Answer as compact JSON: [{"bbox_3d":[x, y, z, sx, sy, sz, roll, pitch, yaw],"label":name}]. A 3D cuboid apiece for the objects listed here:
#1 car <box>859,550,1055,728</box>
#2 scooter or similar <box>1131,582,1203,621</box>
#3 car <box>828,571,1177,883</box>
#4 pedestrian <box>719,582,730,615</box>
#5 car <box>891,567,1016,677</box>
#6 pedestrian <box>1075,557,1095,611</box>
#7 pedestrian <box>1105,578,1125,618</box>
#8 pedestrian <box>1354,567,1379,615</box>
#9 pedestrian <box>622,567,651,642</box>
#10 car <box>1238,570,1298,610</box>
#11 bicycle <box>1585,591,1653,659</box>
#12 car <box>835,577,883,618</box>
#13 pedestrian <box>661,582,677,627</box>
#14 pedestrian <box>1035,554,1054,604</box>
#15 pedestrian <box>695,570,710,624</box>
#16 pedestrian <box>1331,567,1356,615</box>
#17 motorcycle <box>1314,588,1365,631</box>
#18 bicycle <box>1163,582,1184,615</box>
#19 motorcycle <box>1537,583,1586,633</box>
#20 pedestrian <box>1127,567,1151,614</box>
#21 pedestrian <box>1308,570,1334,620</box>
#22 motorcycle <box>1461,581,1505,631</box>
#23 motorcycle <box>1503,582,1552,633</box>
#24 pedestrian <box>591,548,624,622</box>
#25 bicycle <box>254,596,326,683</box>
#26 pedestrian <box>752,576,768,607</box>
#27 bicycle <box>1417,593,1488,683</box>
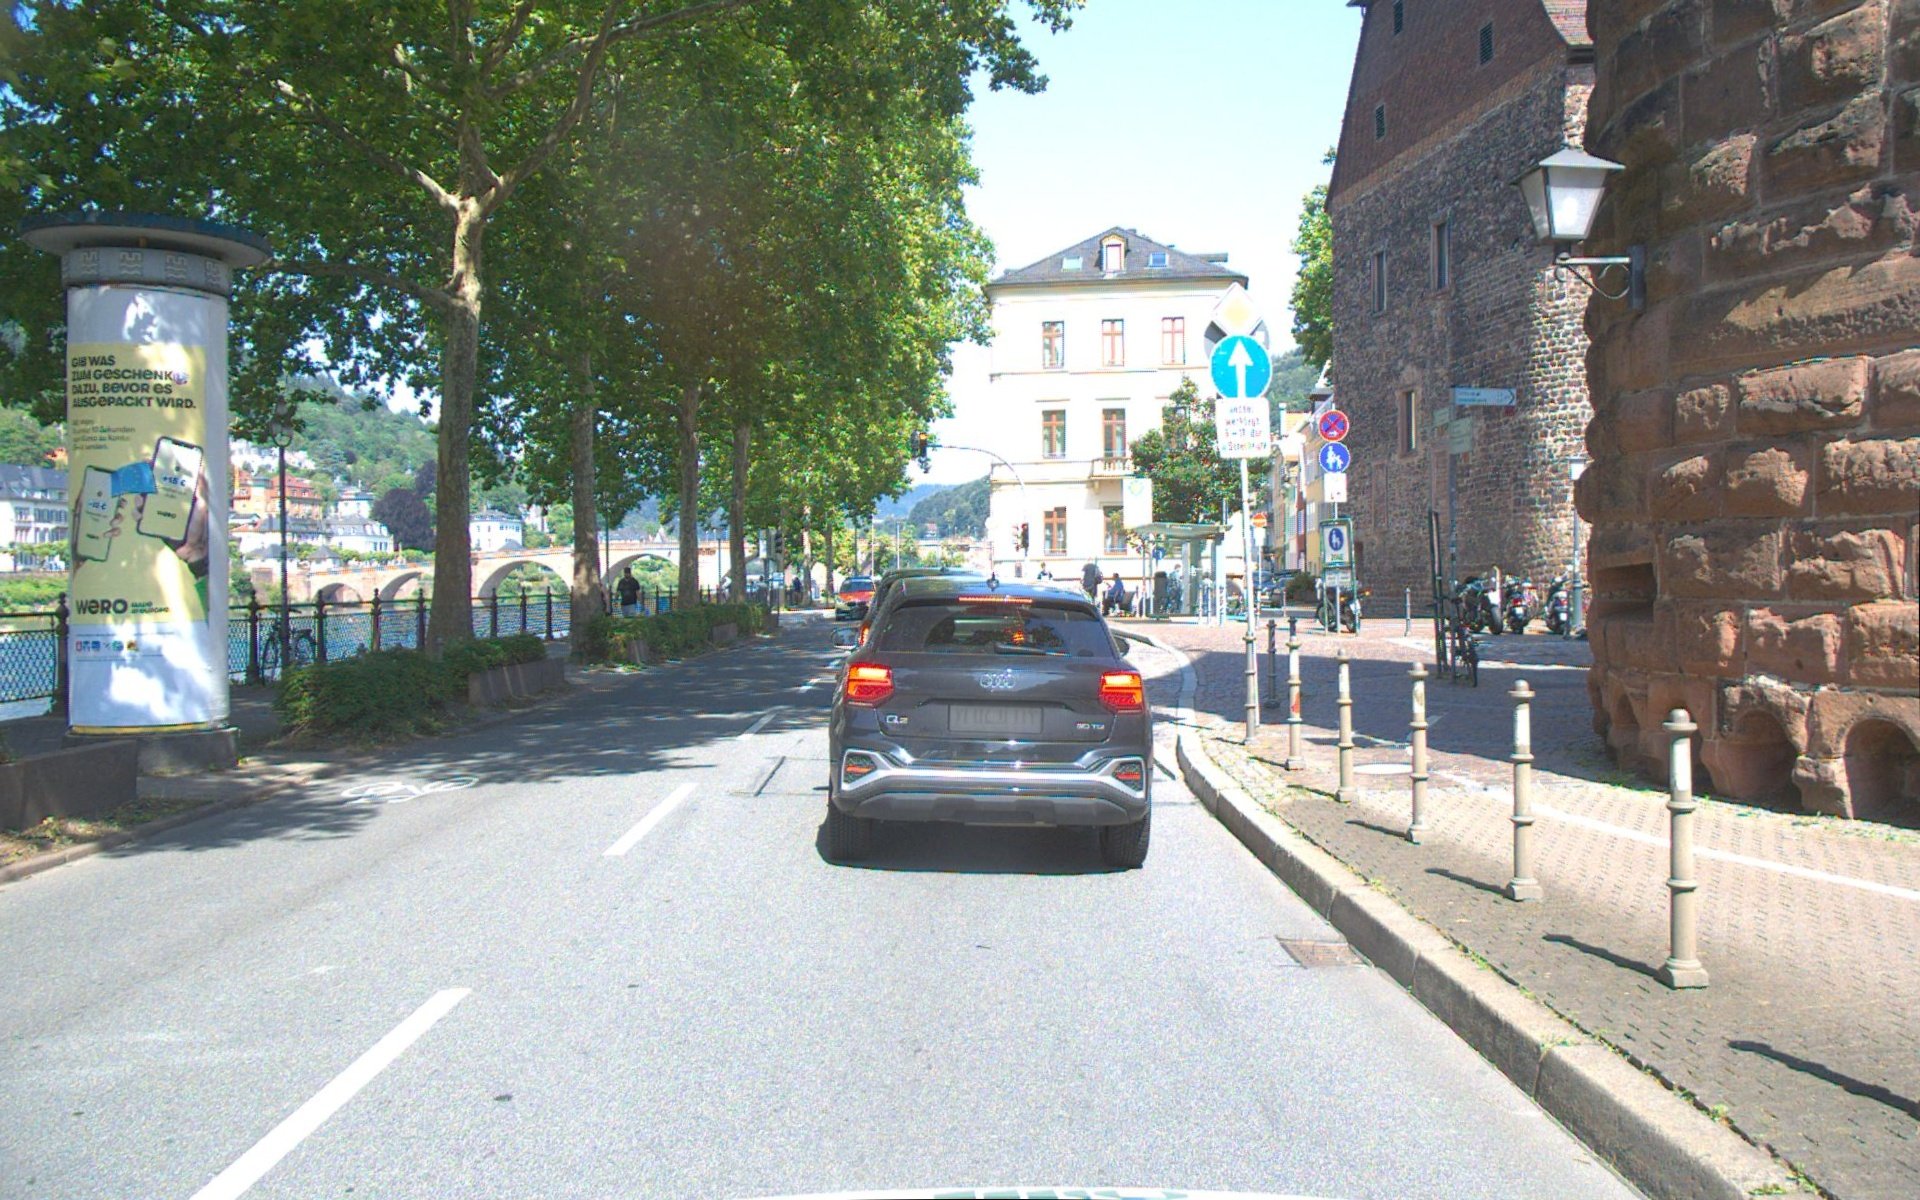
[{"bbox_3d":[-0.036,0.338,17.094,1.764,1.589,3.715,-2,1,0],"label":"car"},{"bbox_3d":[5.405,0.042,43.207,1.808,0.980,0.429,1,0,-2],"label":"scooter or similar"},{"bbox_3d":[0.158,0.611,10.024,1.713,1.520,3.628,1,1,-2],"label":"car"},{"bbox_3d":[-10.413,-0.070,73.111,0.401,1.450,0.457,1,0,-2],"label":"pedestrian"},{"bbox_3d":[-0.103,0.293,25.875,1.764,1.549,3.715,-2,1,0],"label":"car"},{"bbox_3d":[3.884,-0.488,51.334,0.545,1.661,0.660,1,0,0],"label":"pedestrian"},{"bbox_3d":[4.833,-0.060,51.589,0.535,1.222,0.522,1,0,0],"label":"pedestrian"},{"bbox_3d":[13.226,-0.280,53.867,0.644,1.544,0.627,1,0,1],"label":"pedestrian"},{"bbox_3d":[-7.817,0.111,39.973,0.552,1.772,0.665,-2,0,-4],"label":"pedestrian"},{"bbox_3d":[14.130,-0.443,76.096,1.953,1.746,4.000,1,0,0],"label":"car"},{"bbox_3d":[10.602,0.383,26.672,0.485,1.048,2.052,1,0,7],"label":"bicycle"},{"bbox_3d":[-4.015,-0.116,65.972,1.581,1.549,3.477,-2,1,1],"label":"car"},{"bbox_3d":[-10.336,0.159,58.833,0.488,1.564,0.678,-2,0,-8],"label":"pedestrian"},{"bbox_3d":[2.712,-0.667,52.917,0.545,1.585,0.660,1,0,0],"label":"pedestrian"},{"bbox_3d":[-9.586,-0.113,61.655,0.490,1.993,0.438,2,0,-8],"label":"pedestrian"},{"bbox_3d":[12.493,-0.300,53.872,0.644,1.544,0.548,1,0,1],"label":"pedestrian"},{"bbox_3d":[7.726,0.175,33.763,0.474,0.832,2.279,-2,1,0],"label":"motorcycle"},{"bbox_3d":[6.669,-0.050,51.608,0.441,0.991,1.399,1,0,0],"label":"bicycle"},{"bbox_3d":[12.270,0.155,33.762,0.449,0.990,1.466,1,0,0],"label":"motorcycle"},{"bbox_3d":[6.047,-0.327,55.778,0.731,1.585,0.588,1,0,0],"label":"pedestrian"},{"bbox_3d":[11.017,-0.148,50.436,0.644,1.519,0.548,1,0,1],"label":"pedestrian"},{"bbox_3d":[10.564,0.112,33.450,0.427,0.990,1.359,1,0,0],"label":"motorcycle"},{"bbox_3d":[11.396,0.136,33.220,0.449,0.990,1.466,1,0,0],"label":"motorcycle"},{"bbox_3d":[-8.497,-0.371,39.906,0.632,1.747,0.665,-2,0,-4],"label":"pedestrian"},{"bbox_3d":[-9.542,0.543,23.607,0.350,1.182,1.825,1,0,-3],"label":"bicycle"},{"bbox_3d":[-8.421,-0.354,69.578,0.579,1.301,0.525,1,0,-1],"label":"pedestrian"},{"bbox_3d":[6.050,0.437,20.388,0.485,1.048,2.052,-1,0,7],"label":"bicycle"}]
